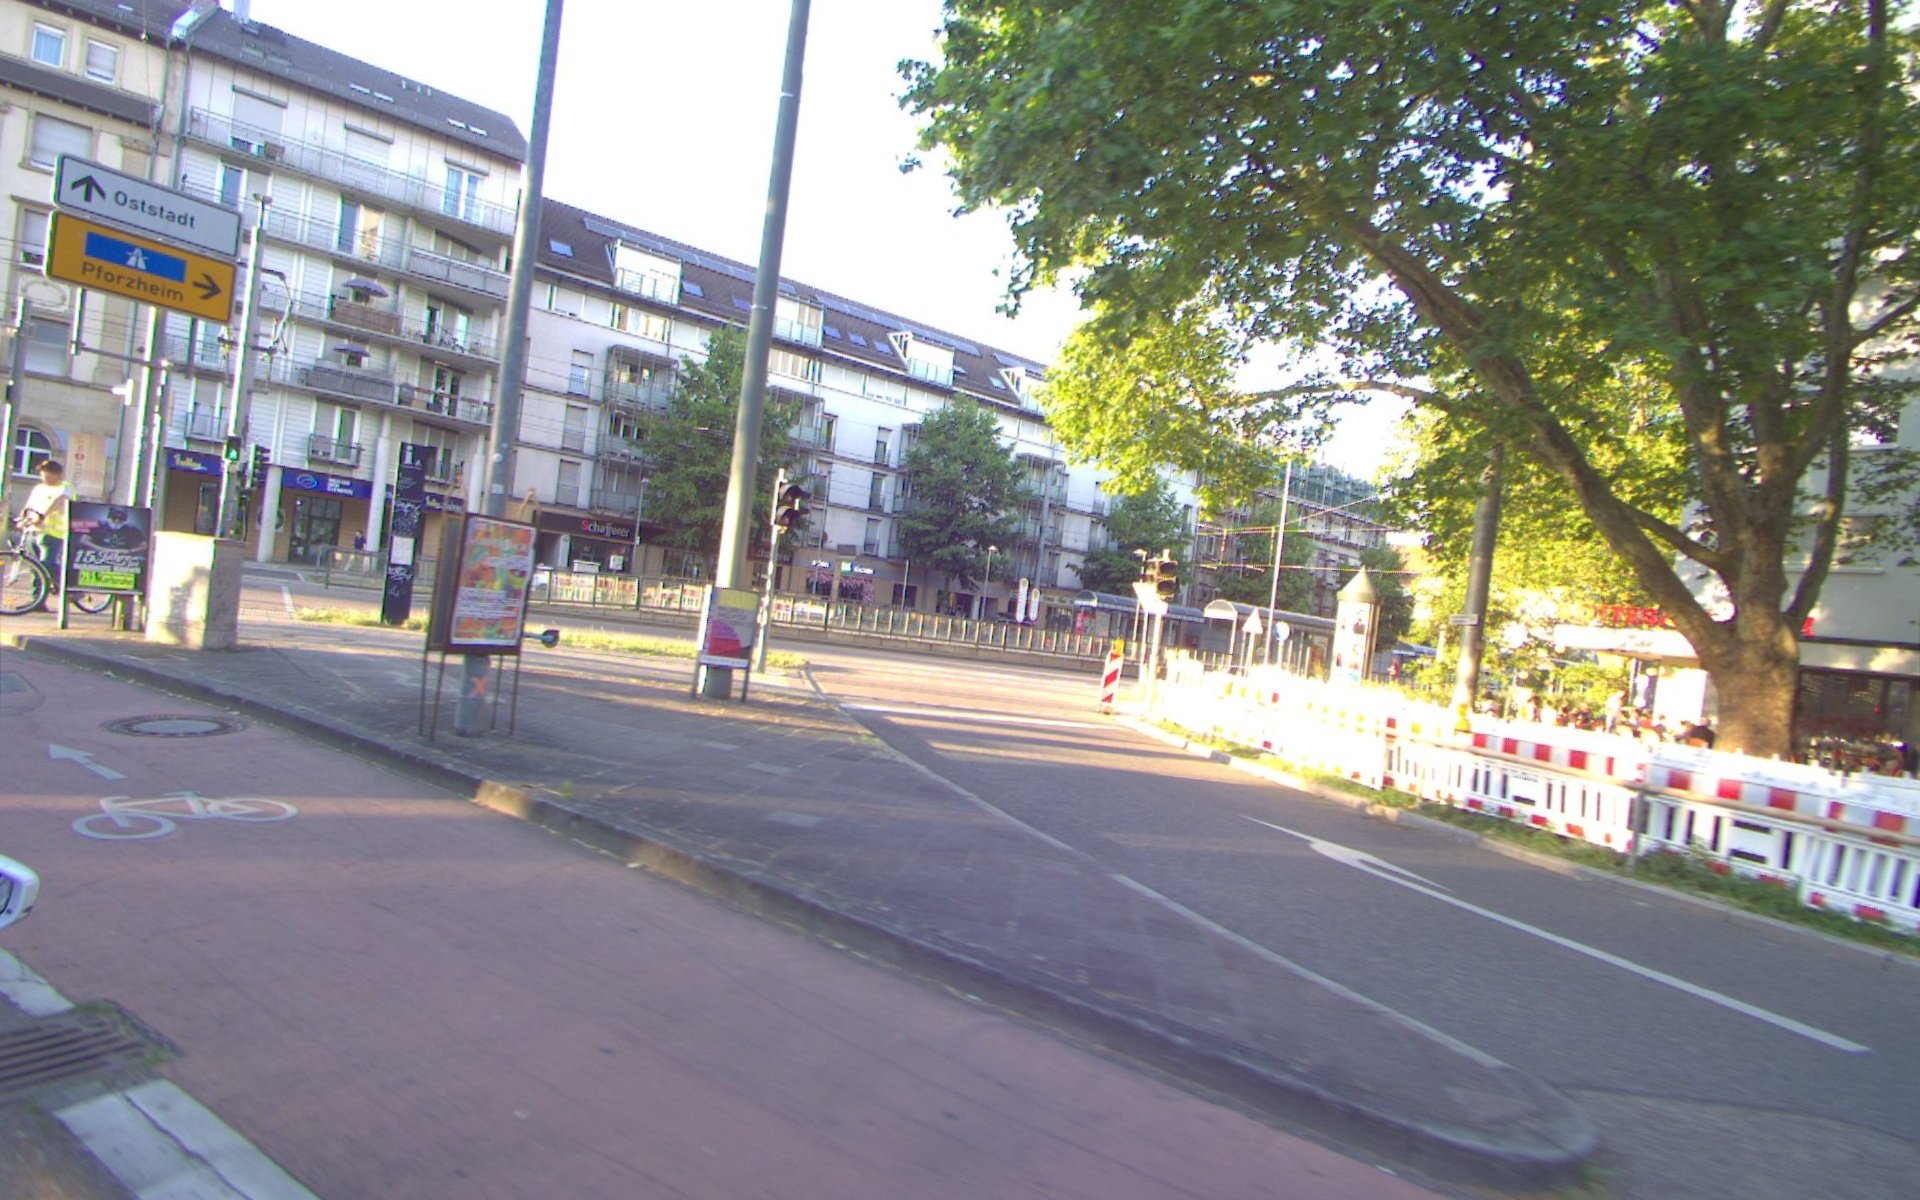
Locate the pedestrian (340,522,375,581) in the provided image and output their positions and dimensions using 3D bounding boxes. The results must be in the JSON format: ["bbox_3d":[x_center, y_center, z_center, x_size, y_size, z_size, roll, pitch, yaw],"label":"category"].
[{"bbox_3d":[-24.103,-1.923,40.233,0.864,2.234,0.812,8,-1,-39],"label":"pedestrian"}]

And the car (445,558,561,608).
[{"bbox_3d":[-18.652,-0.685,41.087,3.964,1.503,1.833,9,-2,-34],"label":"car"}]

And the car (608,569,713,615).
[{"bbox_3d":[-13.348,-0.344,44.932,3.970,1.503,1.830,9,-2,-39],"label":"car"}]

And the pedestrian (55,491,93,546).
[{"bbox_3d":[-31.489,-2.879,35.761,0.782,1.800,0.539,7,-1,-33],"label":"pedestrian"}]

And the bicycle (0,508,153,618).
[{"bbox_3d":[-10.433,-0.406,11.505,0.617,1.122,2.073,7,-2,0],"label":"bicycle"}]

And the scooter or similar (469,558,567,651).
[{"bbox_3d":[-6.830,0.077,15.602,1.217,1.264,0.513,7,-1,-19],"label":"scooter or similar"}]

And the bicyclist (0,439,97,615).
[{"bbox_3d":[-10.384,-0.795,11.263,0.617,1.845,0.699,7,-1,0],"label":"bicyclist"}]
